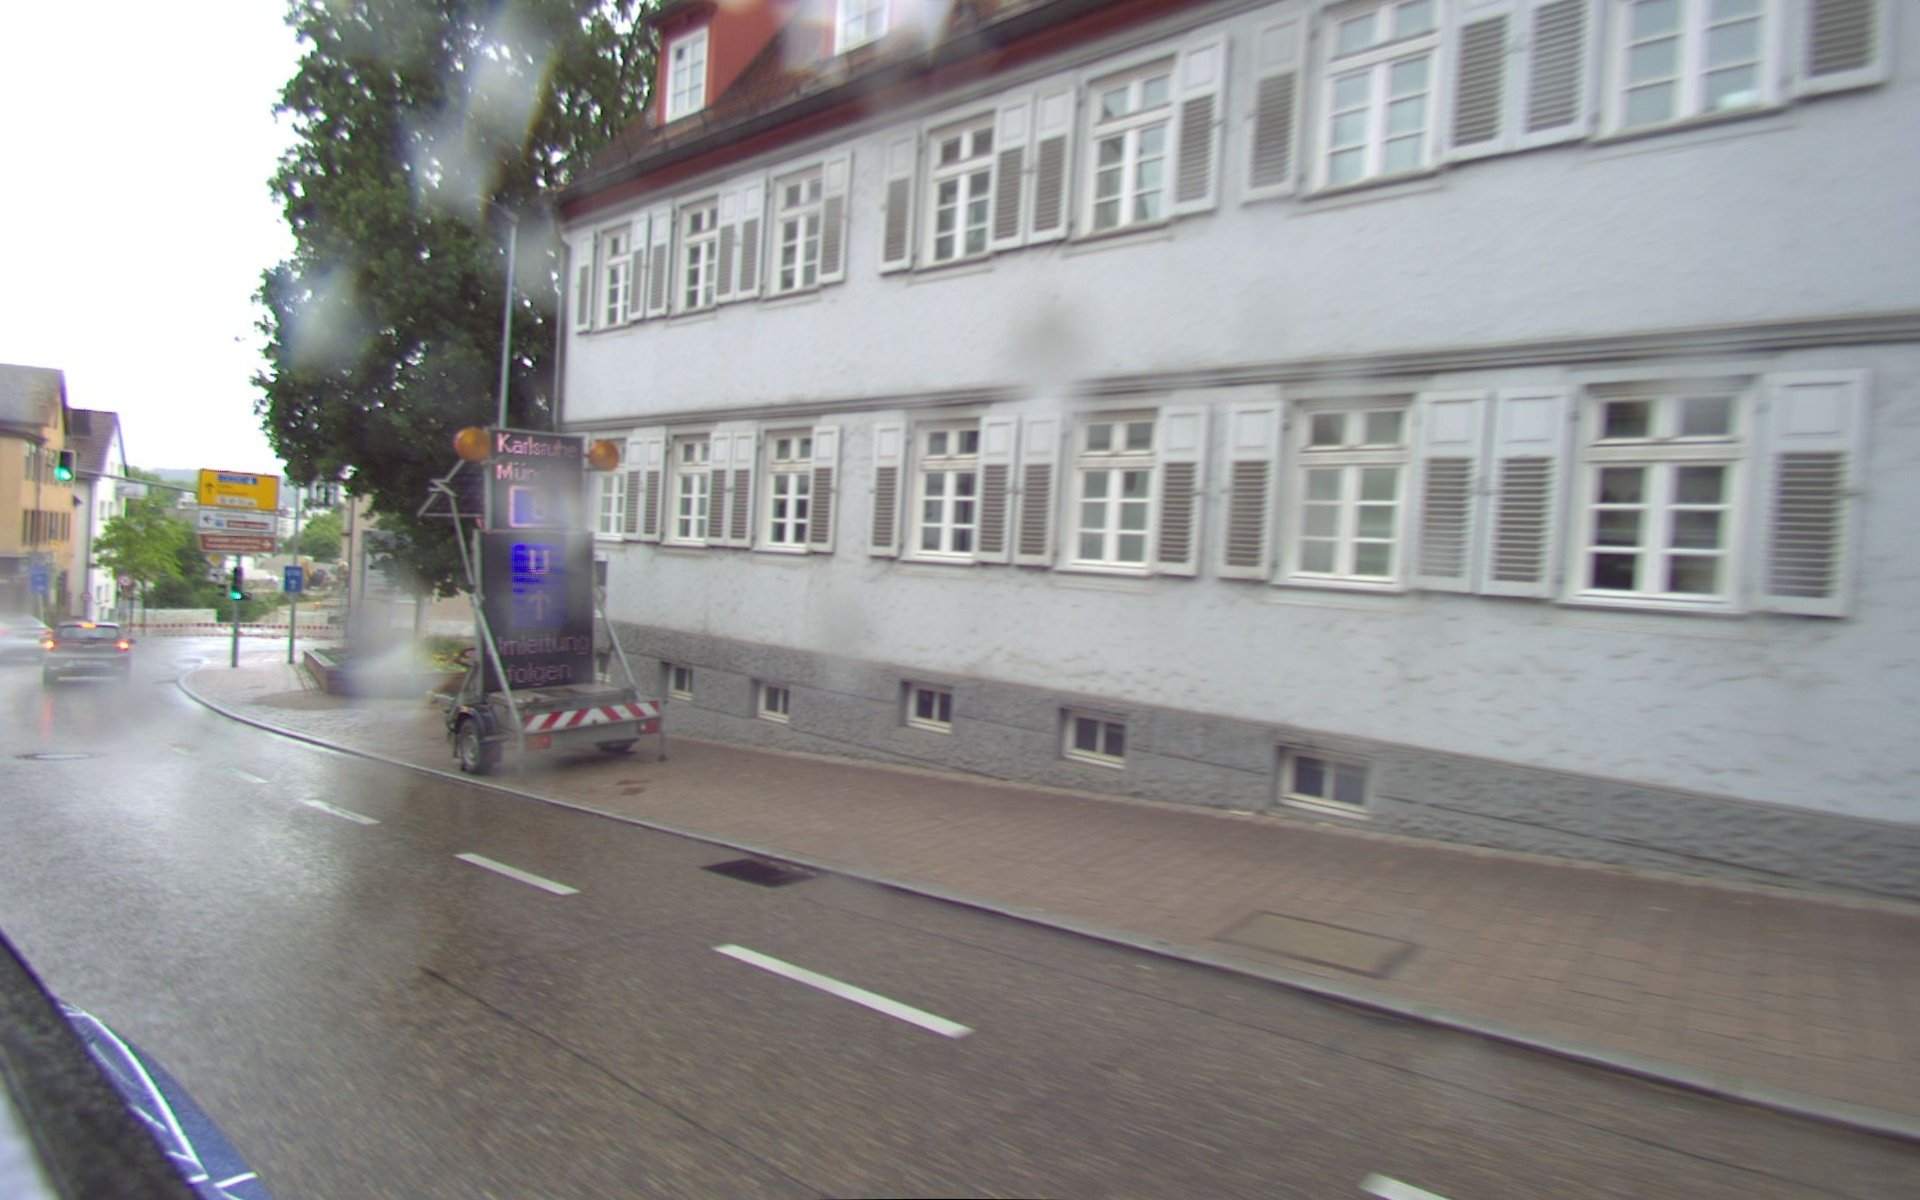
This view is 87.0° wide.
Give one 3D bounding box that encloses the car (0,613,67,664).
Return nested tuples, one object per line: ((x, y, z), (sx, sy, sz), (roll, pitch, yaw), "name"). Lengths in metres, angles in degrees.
((-32.140, 1.253, 33.721), (4.358, 1.620, 1.952), (0, -3, 25), "car")

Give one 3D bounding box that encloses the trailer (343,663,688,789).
((-5.189, 1.293, 11.501), (4.477, 0.912, 1.972), (-1, -1, 43), "trailer")

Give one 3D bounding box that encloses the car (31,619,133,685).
((-21.334, 1.247, 24.548), (1.590, 1.483, 3.588), (4, -4, -44), "car")
